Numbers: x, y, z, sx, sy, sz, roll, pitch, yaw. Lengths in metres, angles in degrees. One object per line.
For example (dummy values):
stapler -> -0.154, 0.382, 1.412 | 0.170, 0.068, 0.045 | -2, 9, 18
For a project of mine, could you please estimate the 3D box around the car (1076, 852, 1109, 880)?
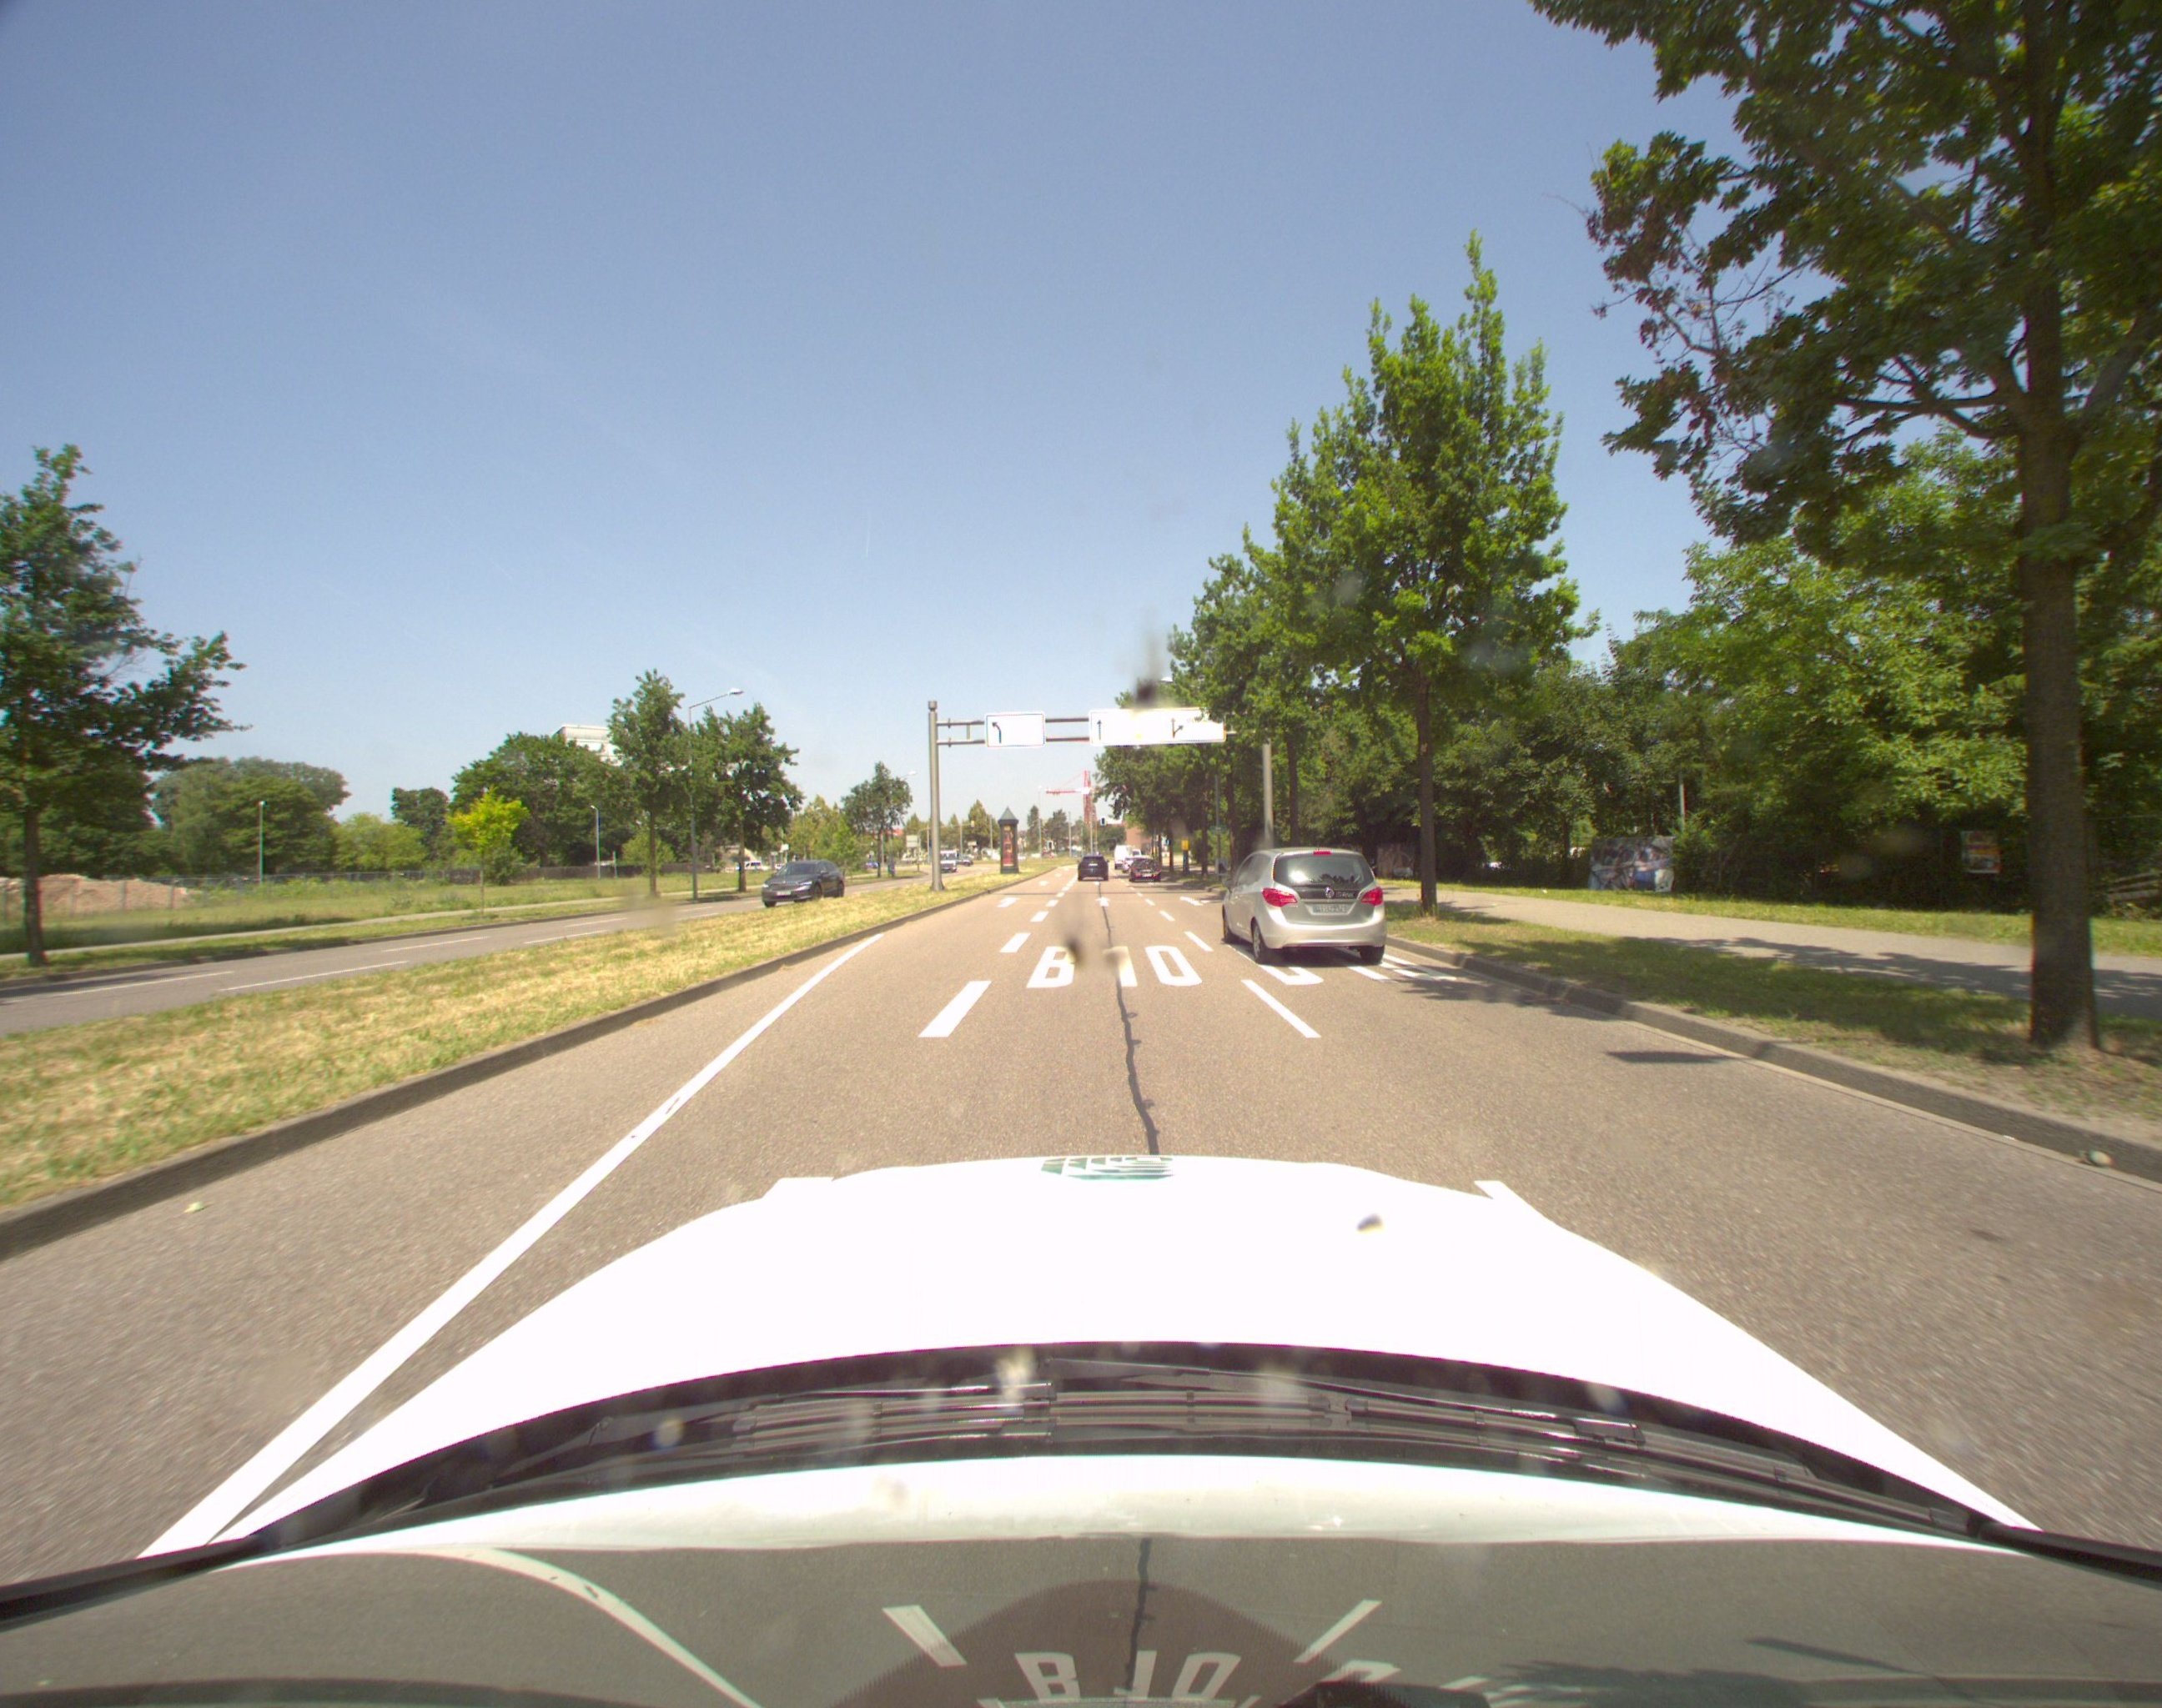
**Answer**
car -> 0.771, 0.749, 52.034 | 1.990, 1.689, 4.036 | -1, 0, 2

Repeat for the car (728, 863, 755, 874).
car -> -64.279, 2.710, 154.110 | 1.974, 1.878, 4.317 | -2, 0, 31

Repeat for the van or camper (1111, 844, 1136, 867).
van or camper -> 4.545, 0.143, 87.557 | 2.484, 2.291, 4.922 | -2, 0, 1

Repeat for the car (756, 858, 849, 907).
car -> -10.197, 0.987, 30.166 | 1.887, 1.610, 4.532 | -2, 0, -1

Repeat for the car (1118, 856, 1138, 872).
car -> 4.165, 0.859, 72.737 | 1.648, 1.356, 4.463 | -2, 0, 3

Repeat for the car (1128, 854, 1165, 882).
car -> 3.837, 0.776, 48.207 | 2.006, 1.517, 4.464 | -2, 0, 3

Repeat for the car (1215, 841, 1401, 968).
car -> 3.234, 0.636, 12.413 | 1.786, 1.612, 3.891 | -1, 0, 1

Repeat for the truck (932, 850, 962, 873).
truck -> -15.732, 0.822, 95.975 | 2.633, 2.576, 6.311 | -2, 0, -3

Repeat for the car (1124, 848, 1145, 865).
car -> 6.757, 0.323, 102.512 | 1.980, 2.013, 4.013 | -2, 0, 12
